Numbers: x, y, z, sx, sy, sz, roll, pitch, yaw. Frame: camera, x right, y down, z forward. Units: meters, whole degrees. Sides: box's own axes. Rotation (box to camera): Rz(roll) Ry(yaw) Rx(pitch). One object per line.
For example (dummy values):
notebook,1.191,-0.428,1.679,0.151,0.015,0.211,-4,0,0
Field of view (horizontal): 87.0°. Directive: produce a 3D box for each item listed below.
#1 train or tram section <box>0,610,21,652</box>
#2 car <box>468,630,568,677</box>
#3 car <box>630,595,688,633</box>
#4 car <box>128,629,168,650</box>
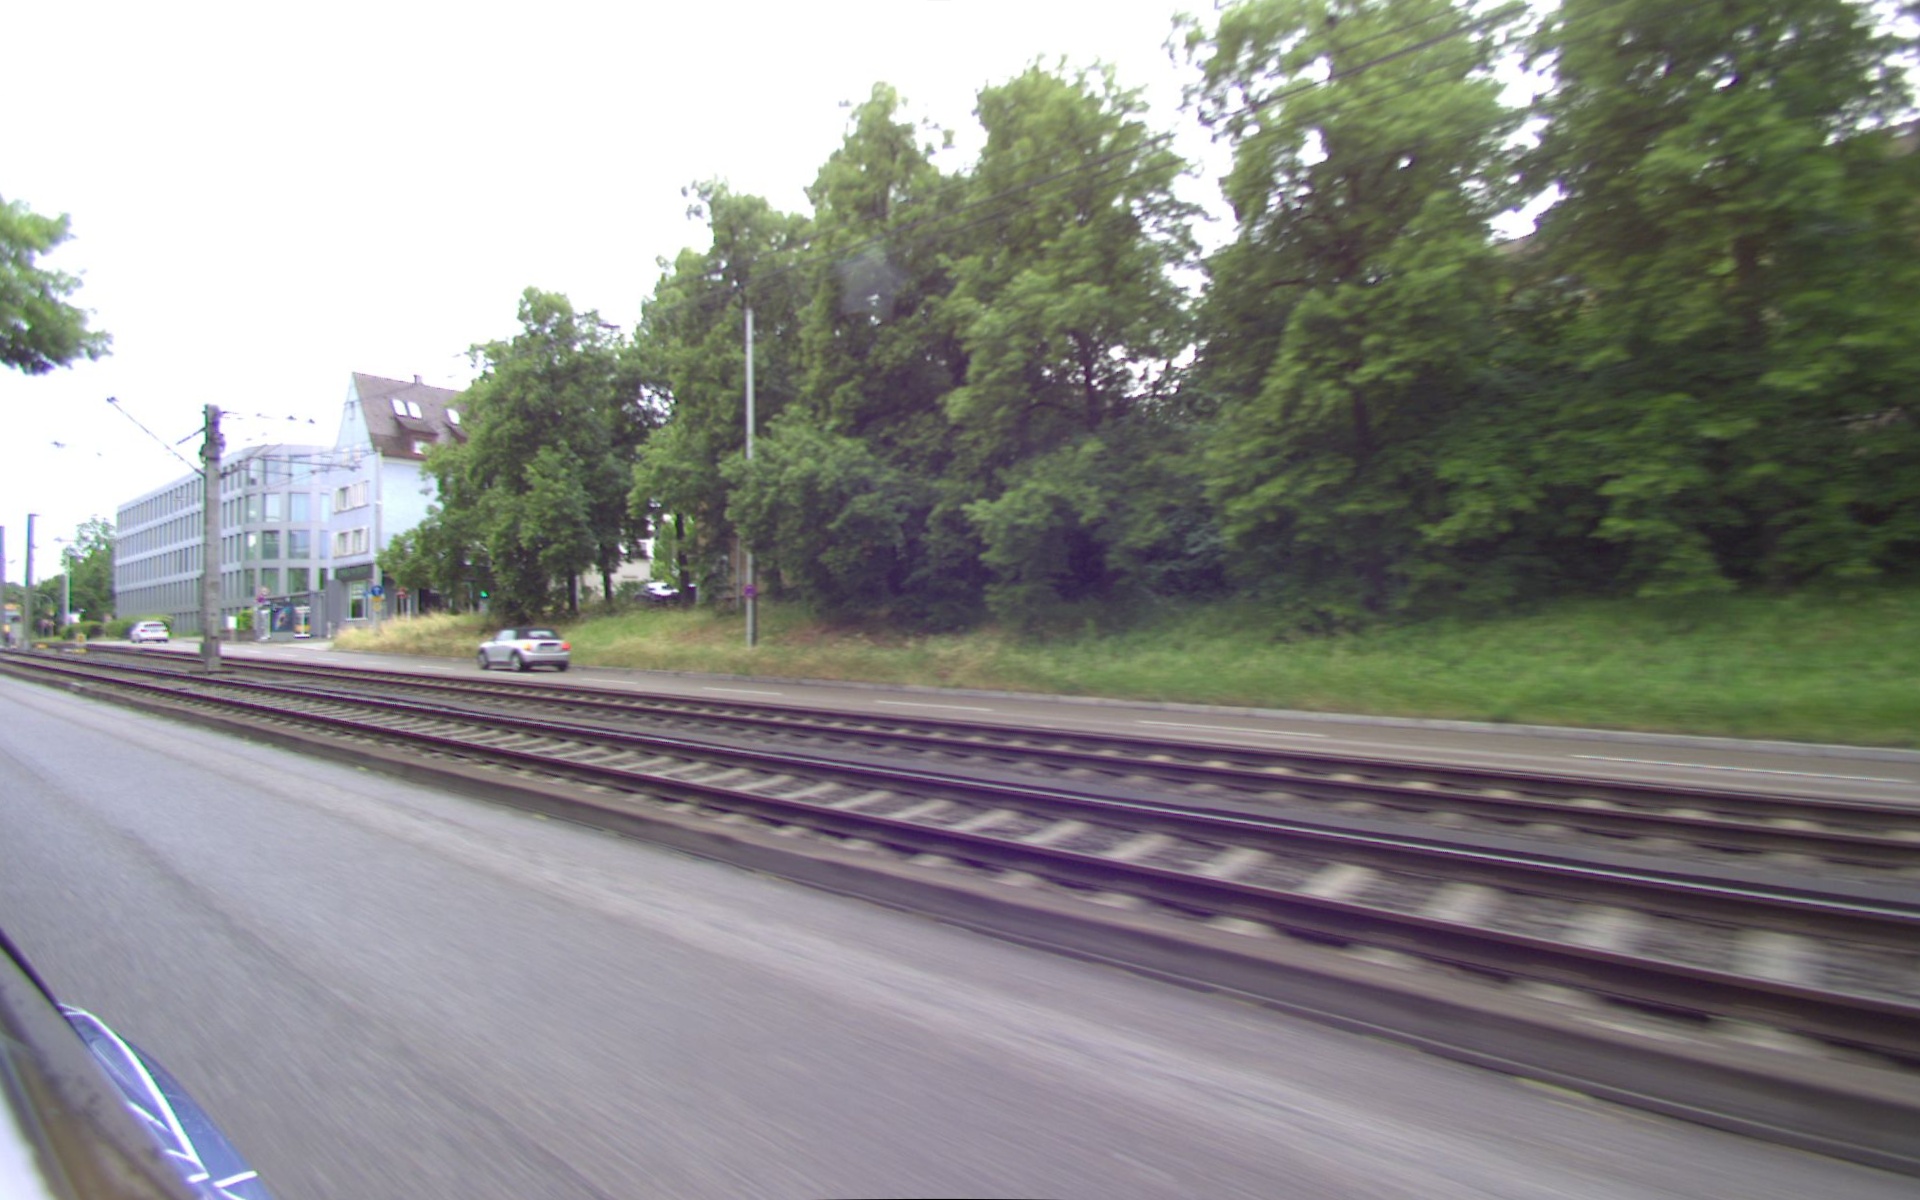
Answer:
train or tram section,-94.846,3.152,98.680,19.511,3.840,2.936,-2,-2,42
car,-14.505,1.740,33.117,3.907,1.447,1.460,-1,-4,41
car,-16.585,0.813,55.614,1.934,2.029,4.228,1,-2,-33
car,-61.105,2.929,76.170,4.379,1.541,1.635,-2,-2,42
